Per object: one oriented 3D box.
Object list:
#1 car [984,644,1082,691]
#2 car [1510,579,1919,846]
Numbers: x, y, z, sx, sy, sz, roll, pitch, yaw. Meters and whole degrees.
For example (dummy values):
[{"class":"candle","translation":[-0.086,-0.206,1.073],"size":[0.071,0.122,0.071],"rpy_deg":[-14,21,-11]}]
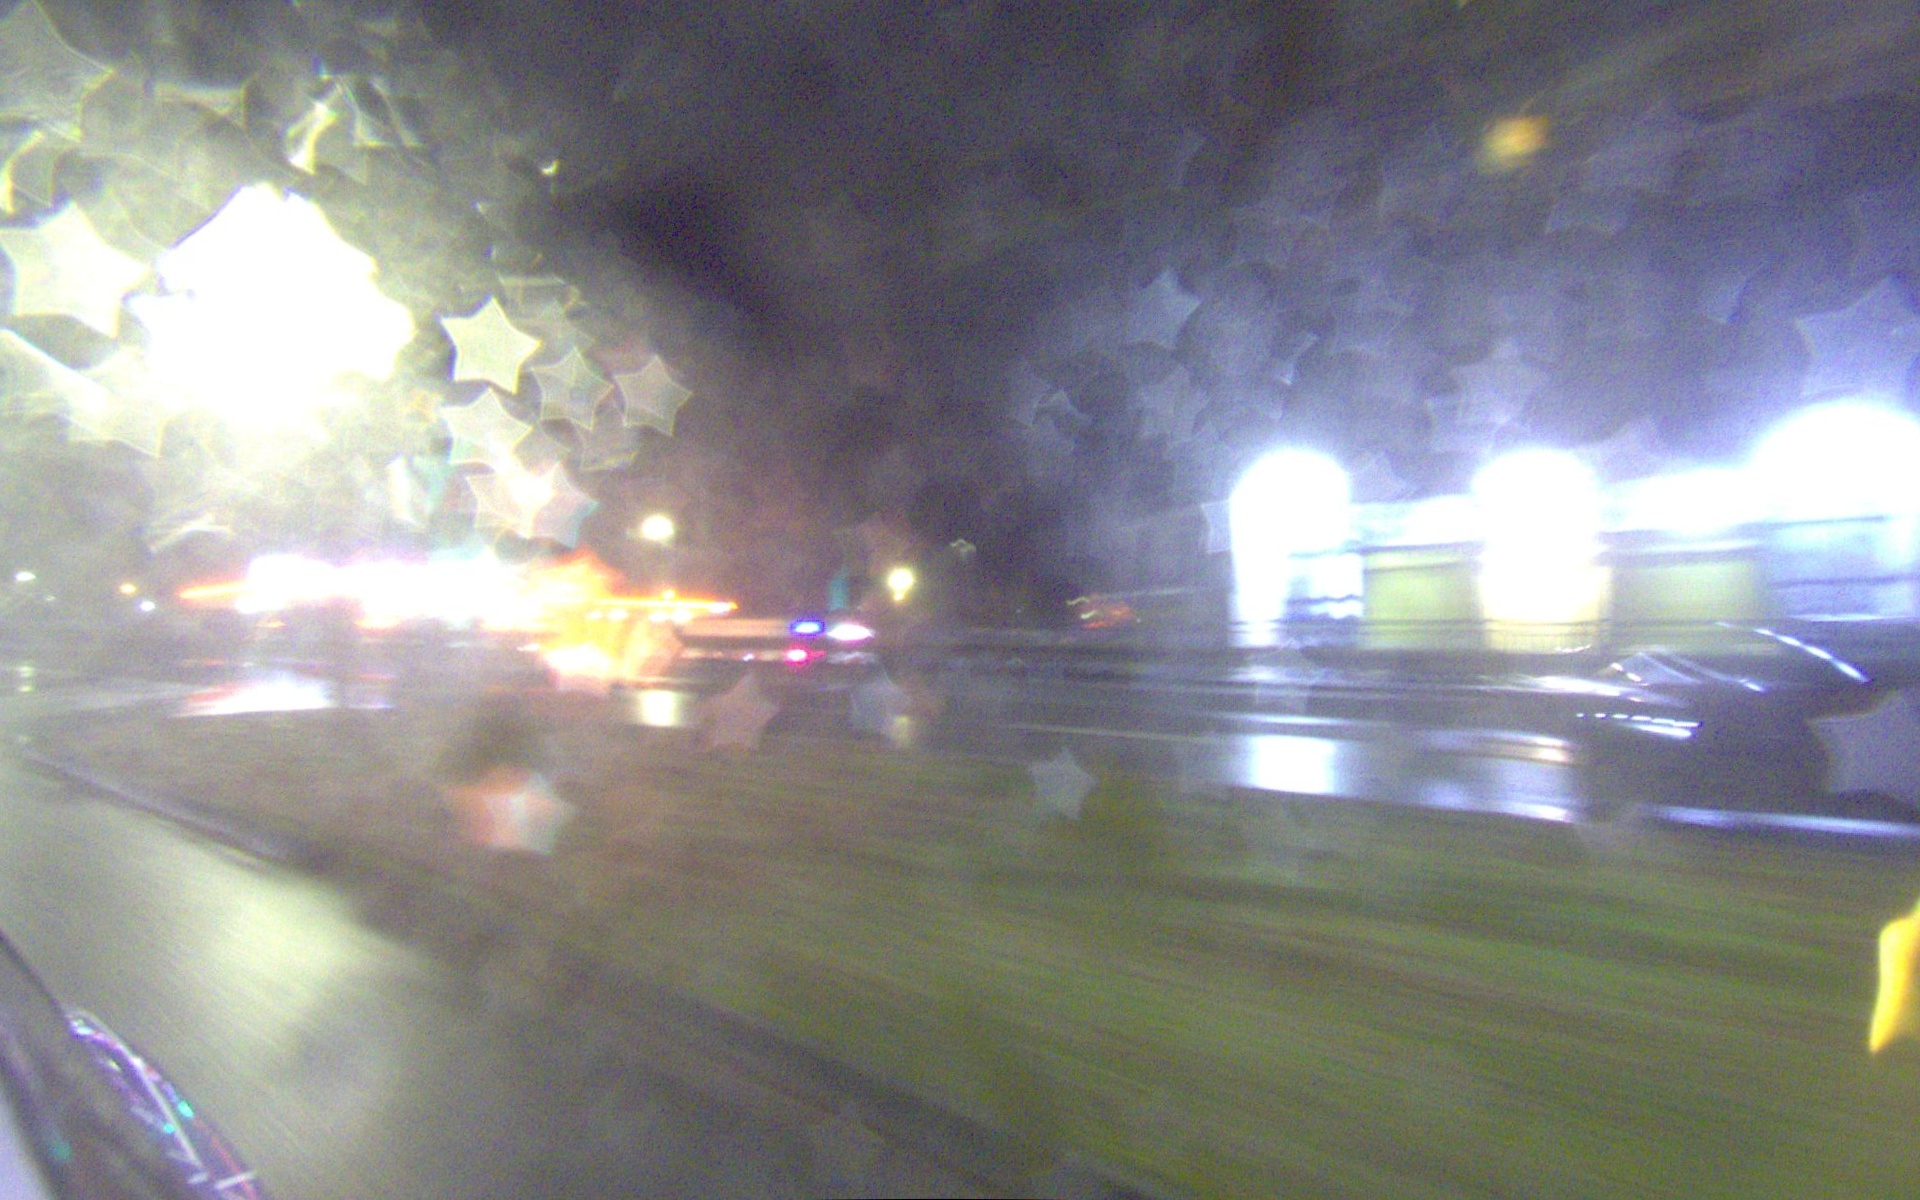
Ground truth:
[{"class":"car","translation":[2.950,2.699,40.010],"size":[1.797,1.736,4.375],"rpy_deg":[-1,-4,36]},{"class":"car","translation":[6.119,0.666,6.121],"size":[4.637,1.475,1.846],"rpy_deg":[-1,-4,41]}]
